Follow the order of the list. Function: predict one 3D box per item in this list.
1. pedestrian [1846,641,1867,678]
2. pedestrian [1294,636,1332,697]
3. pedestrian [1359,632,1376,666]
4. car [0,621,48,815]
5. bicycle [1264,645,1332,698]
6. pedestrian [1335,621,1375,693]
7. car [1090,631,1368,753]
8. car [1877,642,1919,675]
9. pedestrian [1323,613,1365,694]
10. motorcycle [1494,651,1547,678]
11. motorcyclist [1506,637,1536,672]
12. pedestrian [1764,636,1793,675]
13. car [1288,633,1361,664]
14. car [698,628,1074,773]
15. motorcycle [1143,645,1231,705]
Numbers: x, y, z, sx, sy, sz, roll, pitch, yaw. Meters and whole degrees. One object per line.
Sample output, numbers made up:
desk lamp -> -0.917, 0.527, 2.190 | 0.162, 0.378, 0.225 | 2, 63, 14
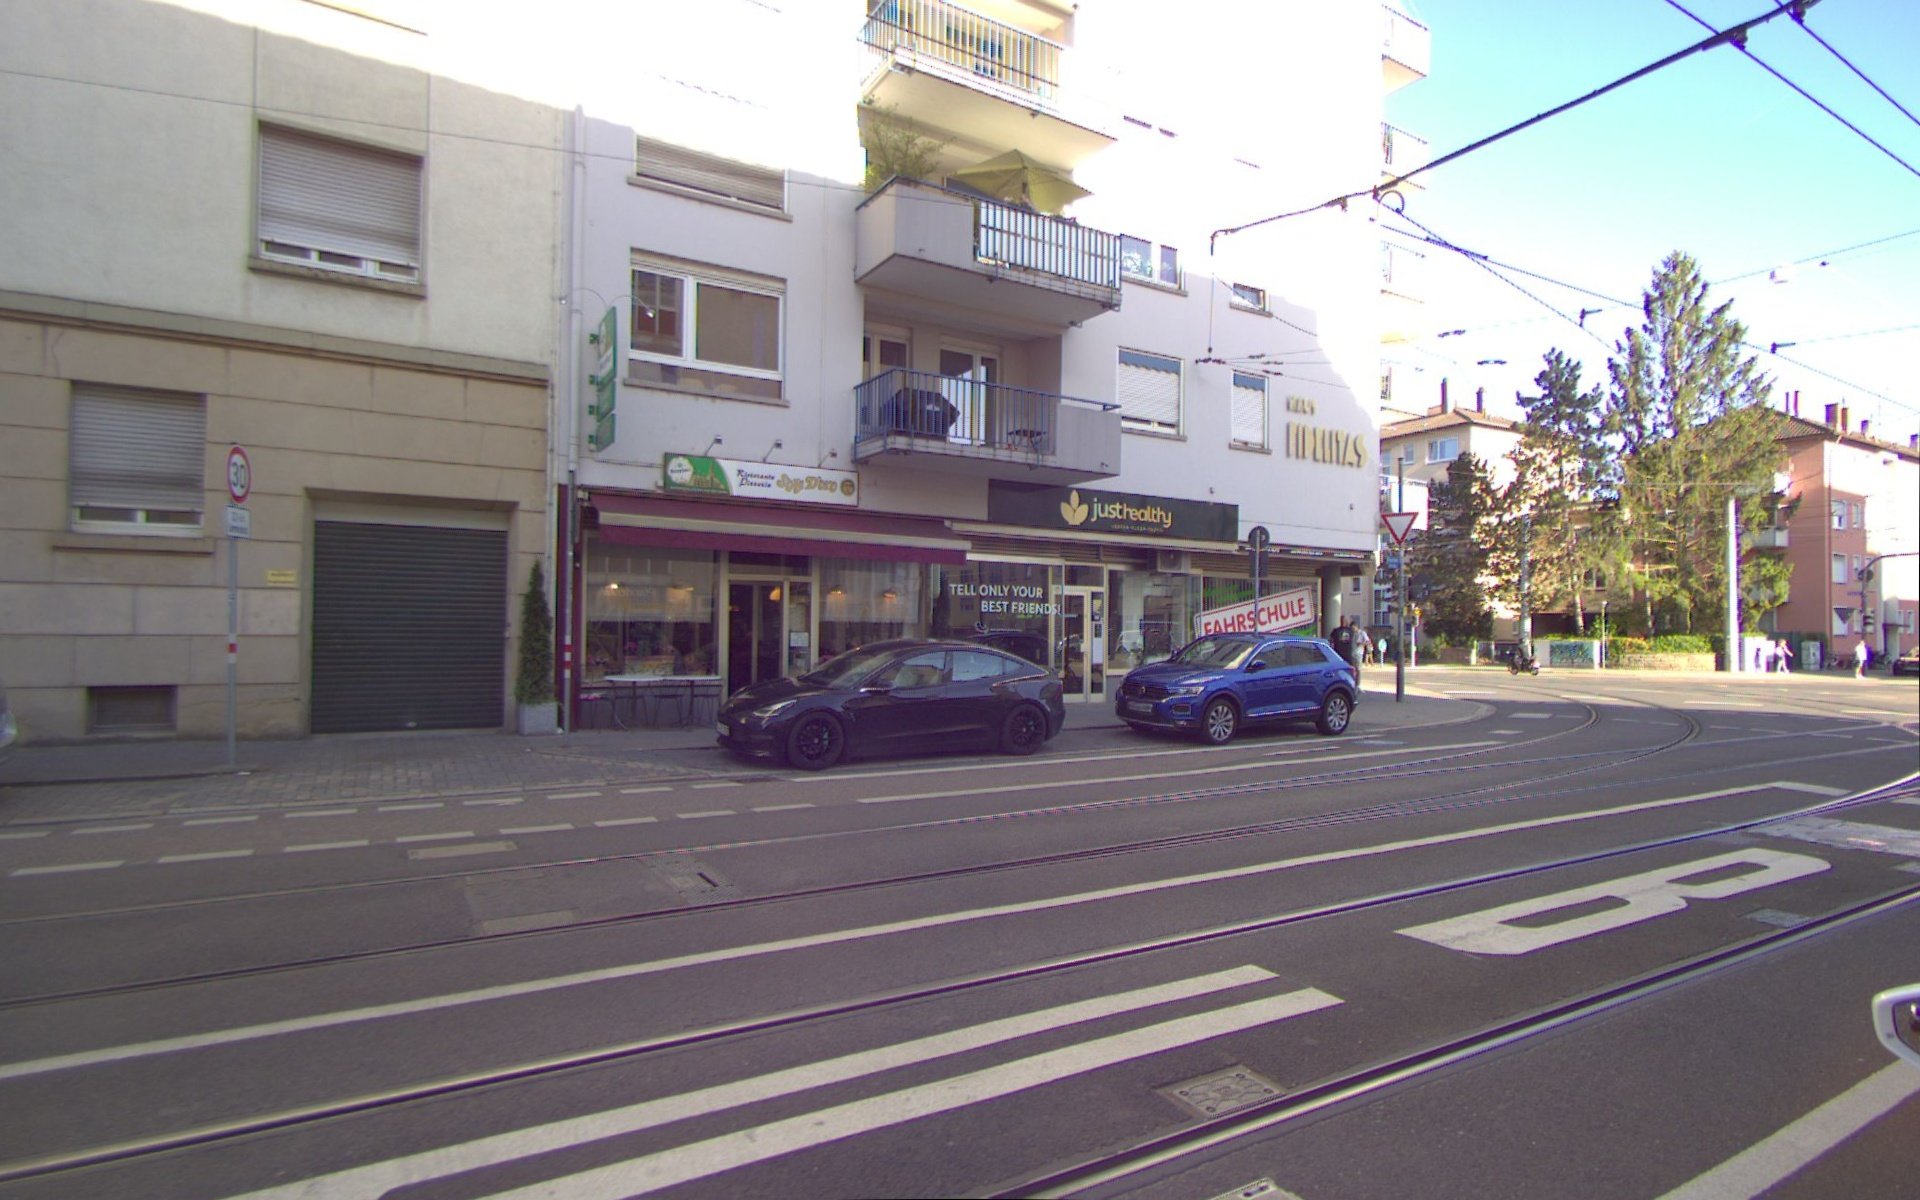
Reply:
pedestrian -> 39.514, 2.632, 44.286 | 0.567, 1.589, 0.514 | 2, 0, -30
pedestrian -> 9.928, 1.880, 28.227 | 0.689, 1.672, 0.758 | 4, -5, -15
pedestrian -> 23.401, 2.802, 57.619 | 0.689, 1.911, 0.778 | 2, 0, 36
car -> -9.653, 0.884, 7.201 | 4.323, 1.474, 1.715 | 2, 0, -32
bicycle -> 7.616, 1.609, 22.645 | 1.520, 1.121, 0.548 | 2, 0, -29
pedestrian -> 10.289, 1.470, 26.149 | 0.652, 1.816, 0.733 | 1, -1, -24
car -> 4.171, 1.294, 15.360 | 4.192, 1.524, 1.758 | 1, 1, -33
car -> 46.374, 2.870, 48.389 | 4.393, 1.450, 2.142 | 4, -1, -32
pedestrian -> 9.410, 1.314, 24.625 | 0.726, 1.925, 0.573 | 3, -2, -13
motorcycle -> 24.912, 2.863, 44.670 | 0.845, 1.060, 1.933 | 2, 0, -20
motorcyclist -> 24.936, 2.431, 44.655 | 0.845, 1.508, 0.725 | 2, 0, -21
pedestrian -> 37.903, 2.560, 46.524 | 0.769, 1.744, 0.705 | 2, 0, 19
car -> 22.390, 2.942, 61.891 | 1.847, 1.650, 4.045 | 2, 0, -26
car -> -0.866, 1.170, 12.649 | 4.394, 1.494, 1.760 | 2, 0, -31
motorcycle -> 4.576, 1.496, 20.204 | 1.776, 1.149, 0.604 | 2, 0, -31
